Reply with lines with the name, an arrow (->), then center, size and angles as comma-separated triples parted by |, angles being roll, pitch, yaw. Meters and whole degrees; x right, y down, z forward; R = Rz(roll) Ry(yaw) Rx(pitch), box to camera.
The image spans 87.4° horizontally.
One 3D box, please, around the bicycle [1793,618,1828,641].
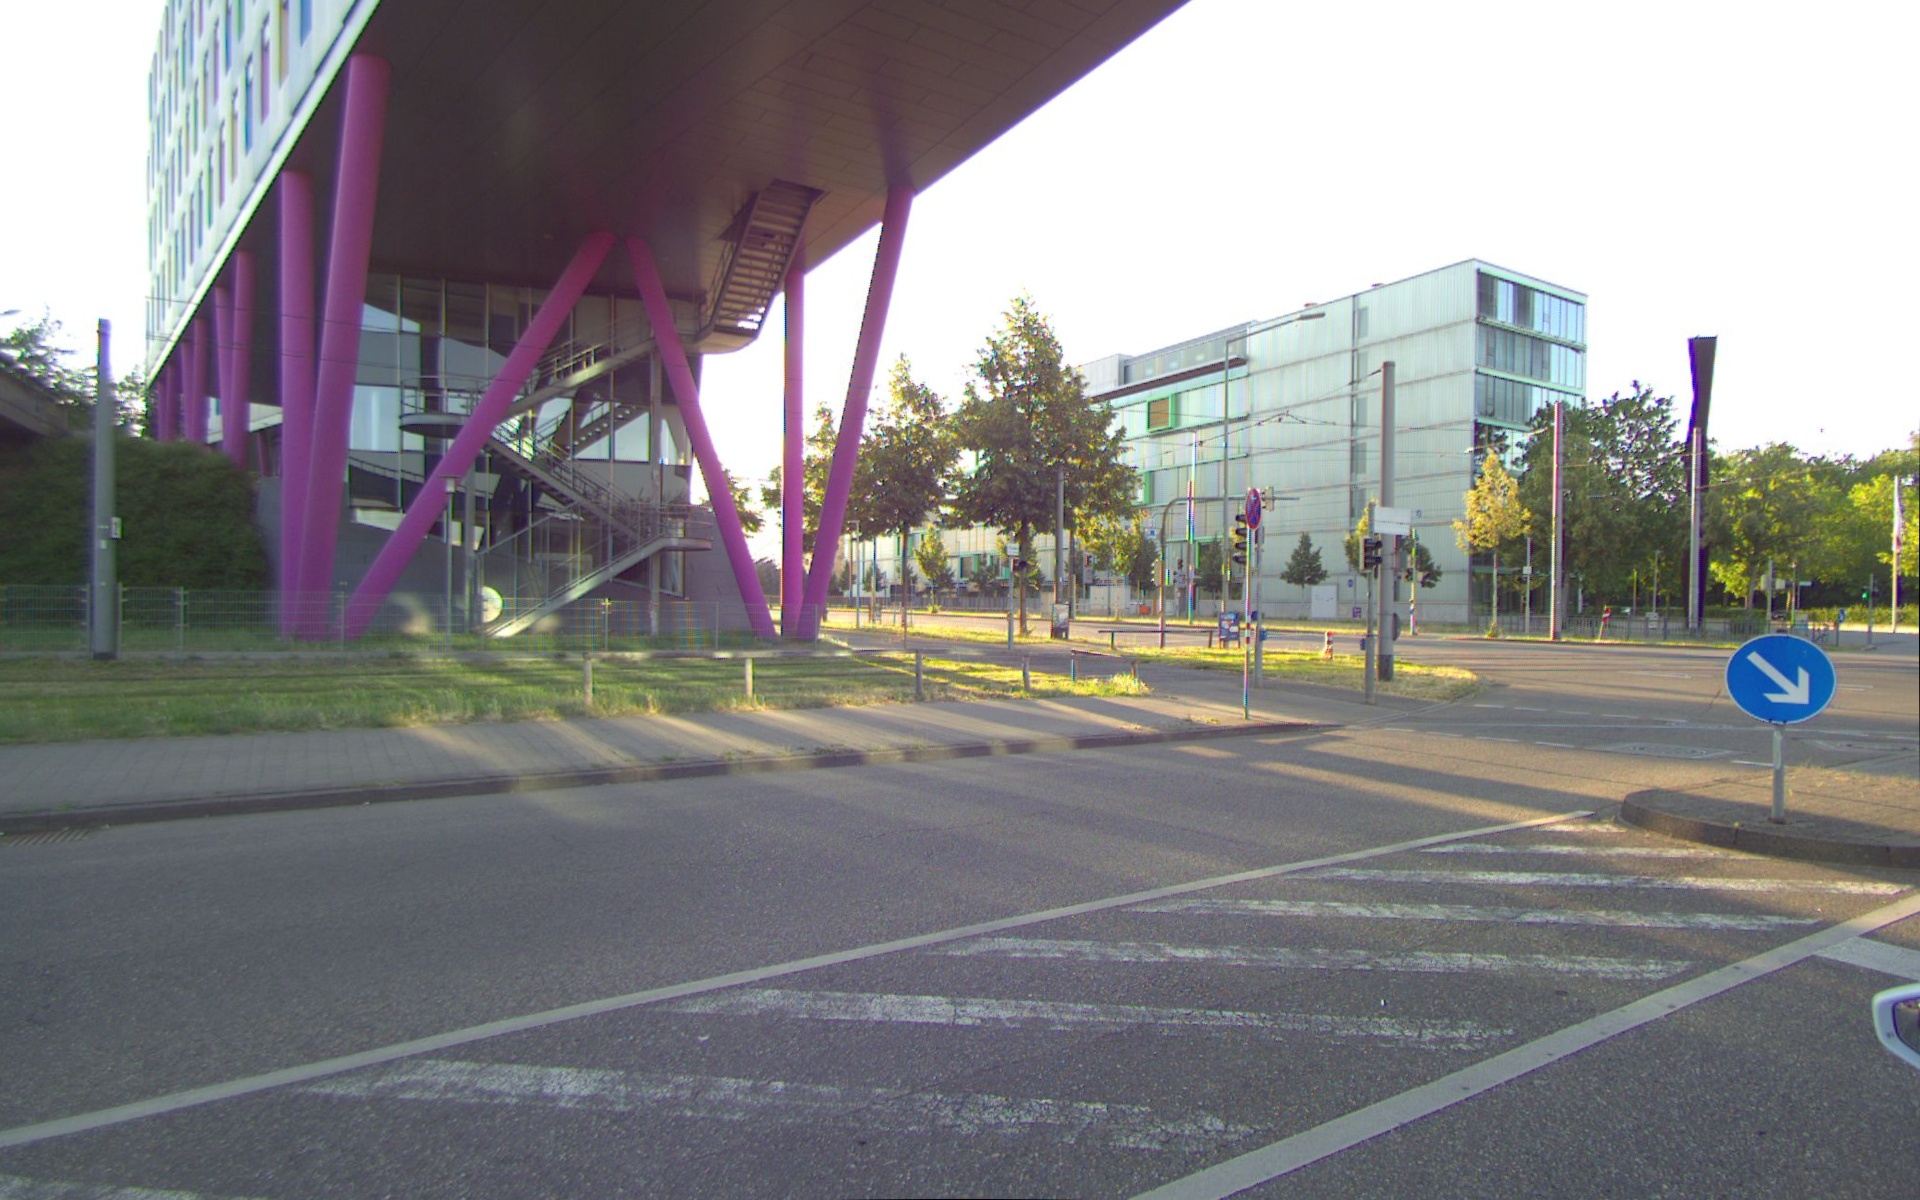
bicycle -> 43.774, 1.519, 51.682 | 2.367, 1.151, 0.695 | 1, 0, -33
